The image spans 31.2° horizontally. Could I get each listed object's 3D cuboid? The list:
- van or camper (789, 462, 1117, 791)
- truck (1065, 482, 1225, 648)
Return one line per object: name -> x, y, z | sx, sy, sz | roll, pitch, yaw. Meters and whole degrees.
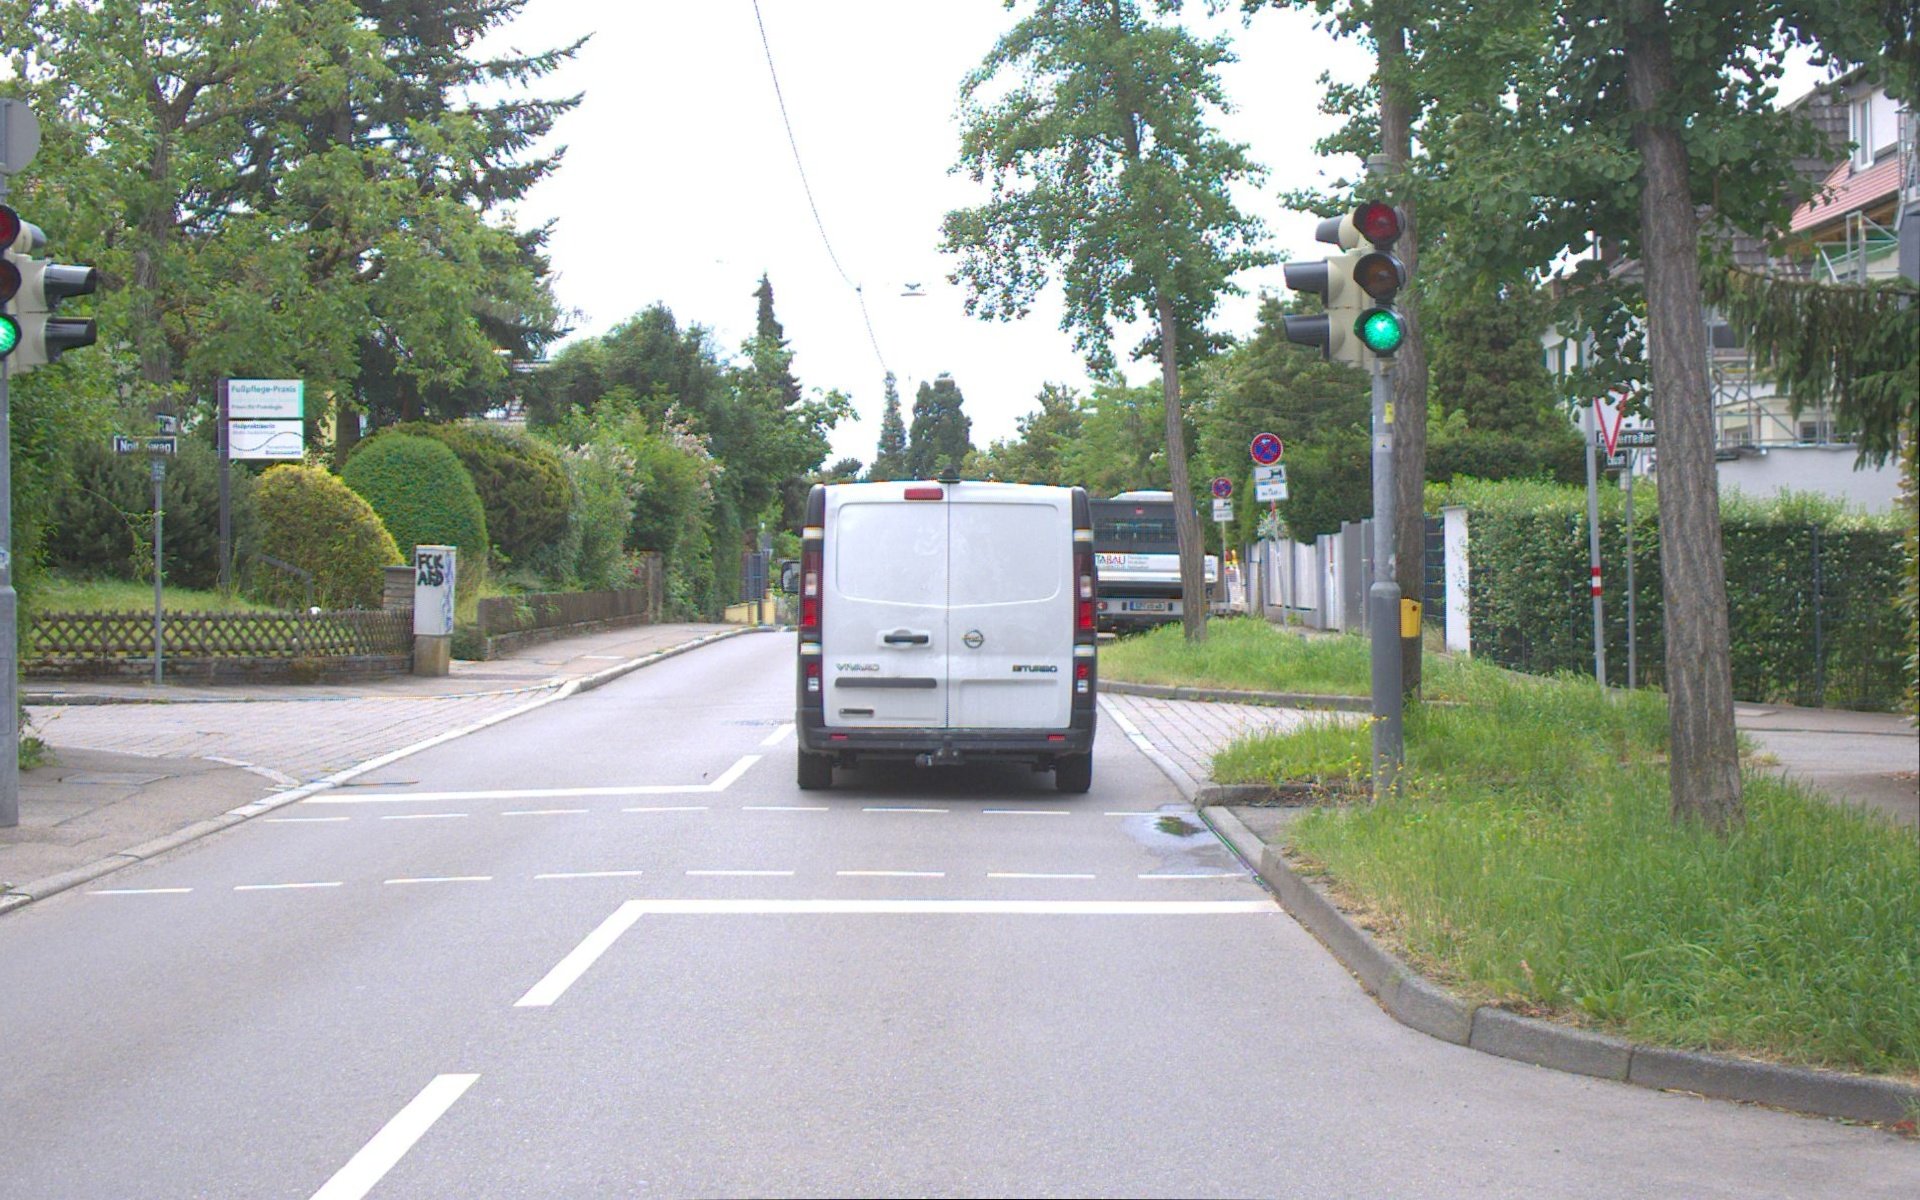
van or camper -> -0.053, 0.178, 22.862 | 1.939, 1.947, 4.765 | 0, -1, 0
truck -> 2.894, -0.567, 55.388 | 2.187, 2.463, 7.430 | 1, 1, 0
